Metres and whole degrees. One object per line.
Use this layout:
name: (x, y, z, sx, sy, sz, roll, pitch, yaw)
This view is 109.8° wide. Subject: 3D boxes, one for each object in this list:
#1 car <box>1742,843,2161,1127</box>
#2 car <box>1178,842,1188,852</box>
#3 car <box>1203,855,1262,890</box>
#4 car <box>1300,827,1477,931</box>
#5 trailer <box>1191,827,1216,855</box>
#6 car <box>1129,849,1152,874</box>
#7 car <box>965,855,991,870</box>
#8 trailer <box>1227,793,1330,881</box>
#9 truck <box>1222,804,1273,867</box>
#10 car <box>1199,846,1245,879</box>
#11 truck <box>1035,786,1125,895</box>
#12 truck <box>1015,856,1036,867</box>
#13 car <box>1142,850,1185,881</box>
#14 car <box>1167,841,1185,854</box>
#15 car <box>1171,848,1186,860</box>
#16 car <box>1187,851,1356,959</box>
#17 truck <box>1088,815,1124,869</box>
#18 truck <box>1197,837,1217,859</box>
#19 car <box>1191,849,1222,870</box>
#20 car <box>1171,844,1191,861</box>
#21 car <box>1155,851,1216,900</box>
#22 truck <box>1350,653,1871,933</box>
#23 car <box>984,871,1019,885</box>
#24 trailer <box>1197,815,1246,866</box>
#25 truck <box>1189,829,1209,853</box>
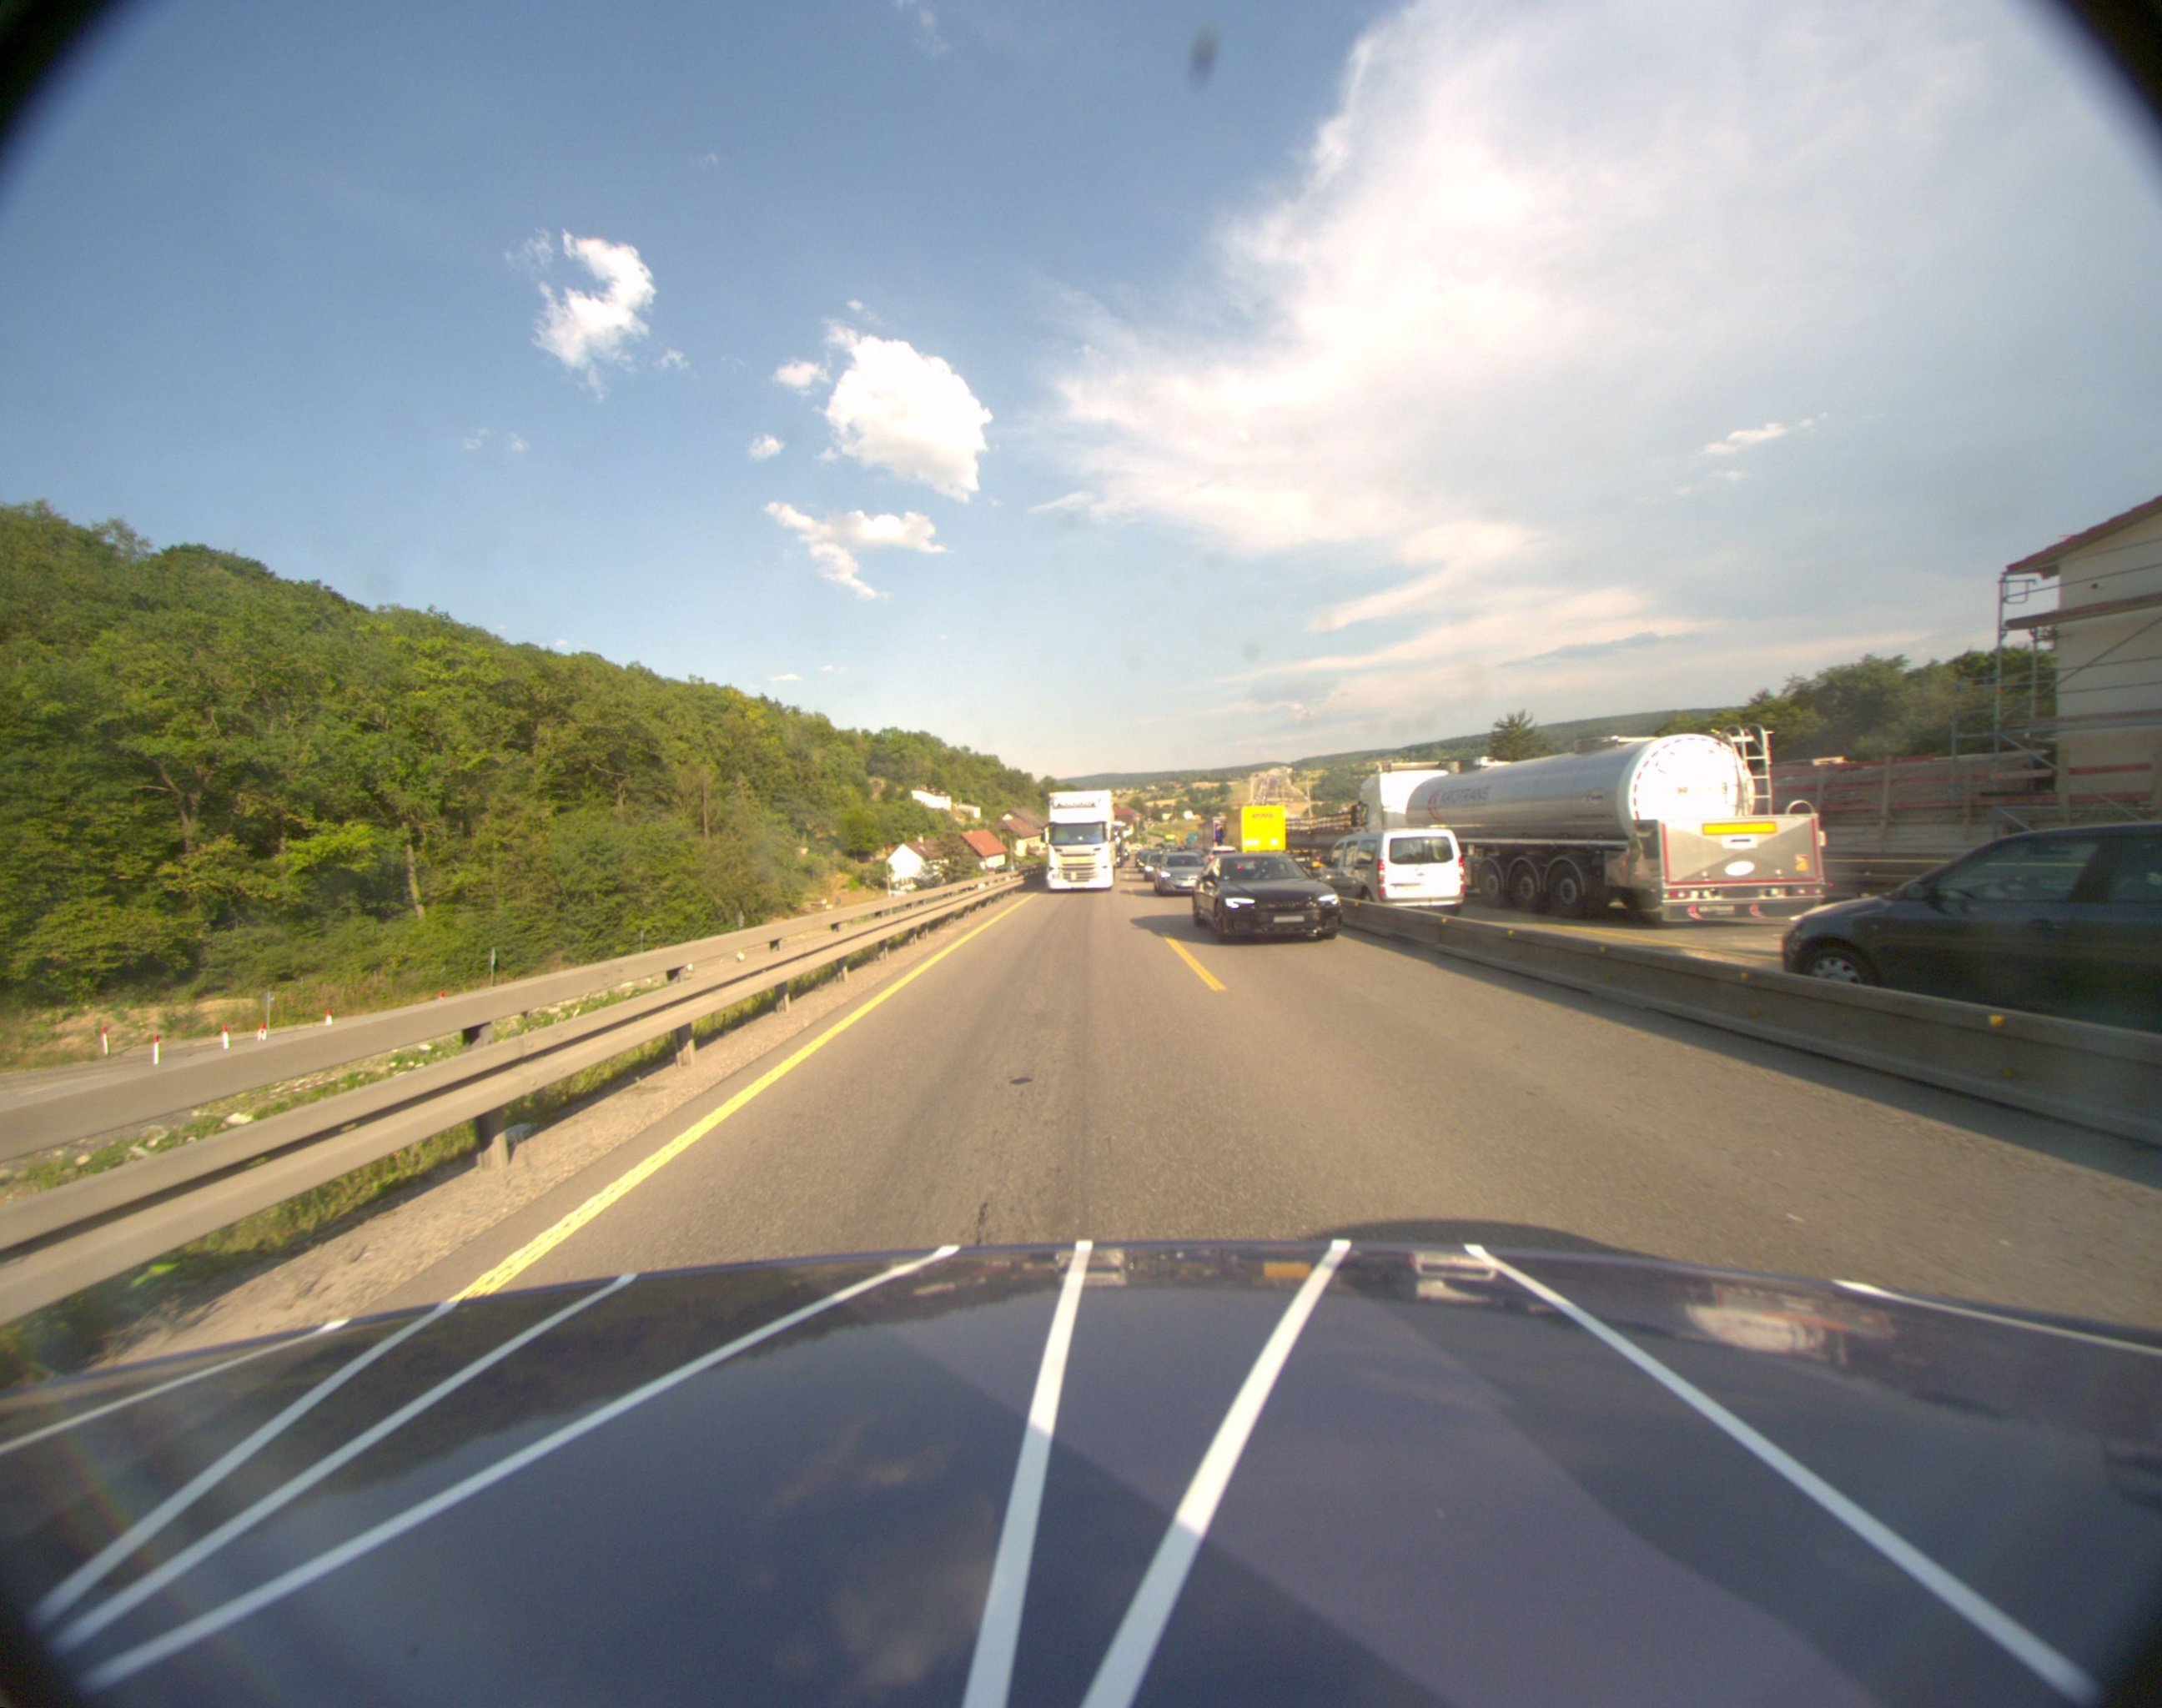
car: (6.613, 0.693, 4.698, 1.675, 1.497, 3.847, -1, 0, 0)
car: (21.604, -1.490, 160.929, 1.997, 2.002, 4.002, -1, 2, 10)
car: (6.252, 0.729, 31.726, 1.715, 1.245, 4.050, 0, 1, 1)
car: (6.439, 0.460, 16.584, 1.837, 1.906, 4.864, -1, 0, 0)
trailer: (17.669, -1.864, 110.799, 2.754, 3.794, 16.050, 0, 1, 6)
car: (5.228, 0.617, 67.159, 1.998, 2.002, 4.000, -1, 2, 4)
car: (-15.291, 1.248, 113.057, 1.865, 1.975, 5.055, -1, 4, 15)
trailer: (10.995, -1.036, 44.281, 2.707, 4.180, 15.996, -1, 2, 3)
truck: (11.481, -1.280, 52.744, 2.700, 4.173, 4.398, -1, 2, 3)
car: (7.522, 0.410, 40.877, 1.850, 1.638, 4.559, 0, 1, 3)
truck: (0.361, -0.702, 35.533, 2.891, 4.060, 13.894, -1, 2, 5)
truck: (-10.672, 1.420, 145.820, 2.002, 1.729, 3.990, -11, 5, -34)
car: (4.169, 0.551, 38.921, 1.823, 1.433, 4.000, -3, 1, 2)
car: (10.894, -0.785, 87.553, 1.801, 1.445, 4.615, -1, 2, 4)
car: (13.048, -0.006, 102.269, 1.792, 1.489, 4.725, -1, 2, 5)
car: (3.162, 0.743, 13.770, 1.945, 1.472, 5.221, 0, 1, 2)
truck: (2.355, -1.069, 69.098, 2.787, 4.505, 7.191, -3, 0, 4)
truck: (23.958, -1.200, 144.468, 3.165, 4.099, 12.496, 0, 1, 7)
car: (9.473, 0.378, 57.672, 1.743, 1.394, 4.902, -1, 2, 3)
car: (10.067, -0.171, 76.842, 1.720, 1.499, 4.291, -1, 2, 4)
car: (3.526, 0.673, 26.164, 1.809, 1.478, 4.119, -1, 1, 4)
truck: (10.168, -0.918, 18.004, 2.816, 3.947, 13.893, -2, 0, 1)
car: (-13.784, 4.172, 131.955, 5.474, 2.251, 2.001, -2, 3, 15)
trailer: (12.754, -1.374, 70.399, 2.720, 4.111, 16.752, -1, 2, 5)
truck: (18.537, -2.050, 119.395, 2.754, 3.784, 7.113, 0, 1, 6)
